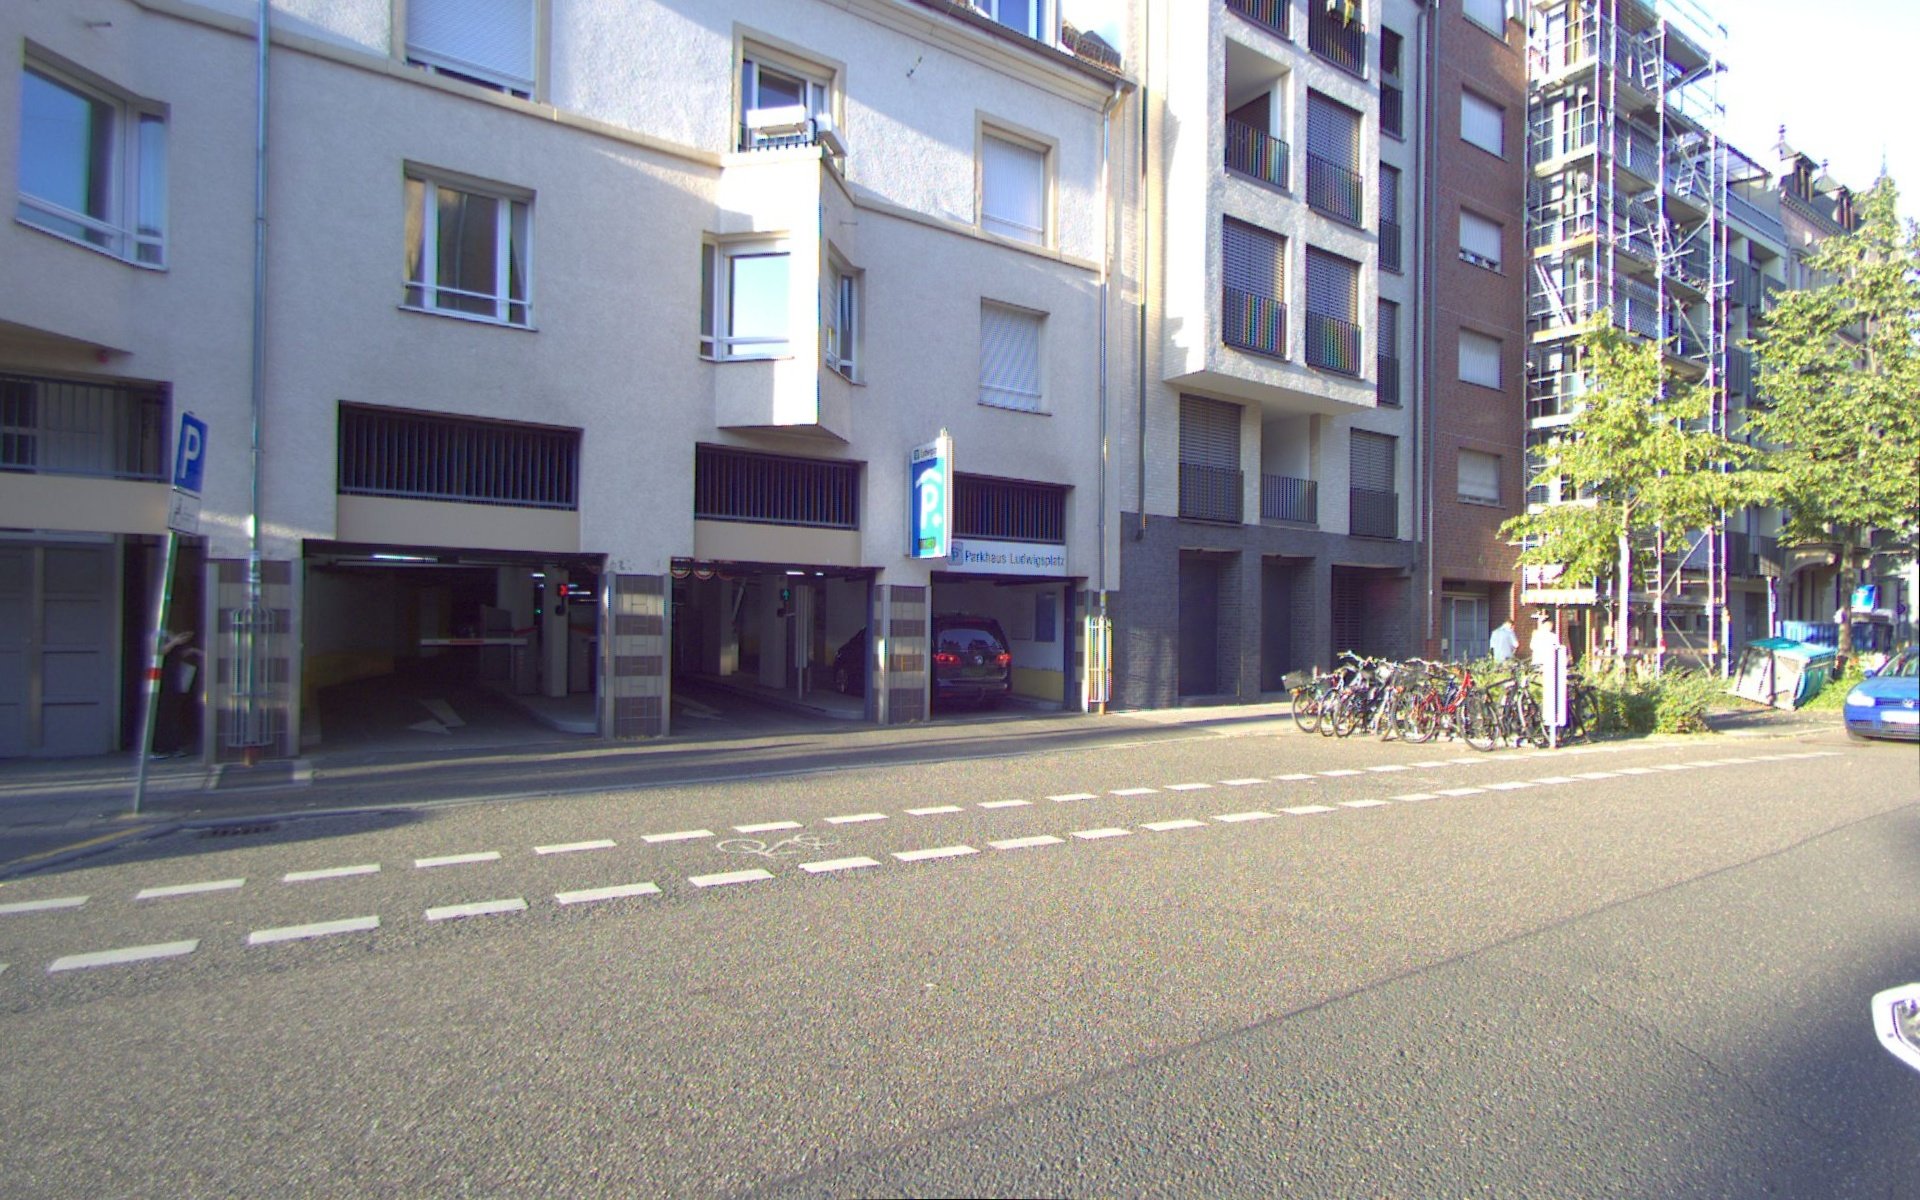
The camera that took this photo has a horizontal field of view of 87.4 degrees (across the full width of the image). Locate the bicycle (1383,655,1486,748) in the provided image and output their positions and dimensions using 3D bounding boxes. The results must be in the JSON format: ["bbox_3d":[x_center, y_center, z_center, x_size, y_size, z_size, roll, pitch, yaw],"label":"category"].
[{"bbox_3d":[6.381,1.338,13.483,1.533,1.172,0.415,1,-1,-28],"label":"bicycle"}]

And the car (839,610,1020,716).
[{"bbox_3d":[-0.660,1.026,17.868,1.543,1.639,3.848,1,0,-31],"label":"car"}]

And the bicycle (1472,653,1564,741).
[{"bbox_3d":[7.950,1.349,14.292,1.535,1.178,0.484,2,-1,-33],"label":"bicycle"}]

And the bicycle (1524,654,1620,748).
[{"bbox_3d":[8.311,1.339,13.623,1.535,1.194,0.504,2,-1,-33],"label":"bicycle"}]

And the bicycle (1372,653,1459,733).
[{"bbox_3d":[7.019,1.410,15.466,1.535,1.159,0.464,2,-1,-33],"label":"bicycle"}]

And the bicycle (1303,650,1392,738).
[{"bbox_3d":[5.635,1.338,14.574,1.535,1.205,0.384,2,-1,-33],"label":"bicycle"}]

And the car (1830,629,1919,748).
[{"bbox_3d":[14.452,1.230,14.503,4.071,1.583,1.680,2,-3,-31],"label":"car"}]

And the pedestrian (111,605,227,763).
[{"bbox_3d":[-8.360,0.863,10.635,0.523,1.593,0.778,0,-1,21],"label":"pedestrian"}]

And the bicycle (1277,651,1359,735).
[{"bbox_3d":[5.368,1.365,15.043,1.390,1.199,0.384,2,-1,-33],"label":"bicycle"}]

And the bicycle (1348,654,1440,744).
[{"bbox_3d":[6.028,1.345,13.924,1.535,1.175,0.378,2,-1,-33],"label":"bicycle"}]

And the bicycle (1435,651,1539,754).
[{"bbox_3d":[6.771,1.285,12.893,1.535,1.237,0.494,2,-1,-33],"label":"bicycle"}]

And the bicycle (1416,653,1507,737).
[{"bbox_3d":[7.430,1.381,14.863,1.535,1.165,0.484,2,-1,-33],"label":"bicycle"}]

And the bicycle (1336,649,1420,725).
[{"bbox_3d":[6.679,1.363,16.038,1.535,1.147,0.454,2,-1,-33],"label":"bicycle"}]

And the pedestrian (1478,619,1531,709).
[{"bbox_3d":[11.154,1.291,20.589,0.649,1.807,0.737,1,-2,-32],"label":"pedestrian"}]

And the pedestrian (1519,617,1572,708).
[{"bbox_3d":[11.981,1.266,20.559,0.650,1.807,0.736,1,-2,-34],"label":"pedestrian"}]
